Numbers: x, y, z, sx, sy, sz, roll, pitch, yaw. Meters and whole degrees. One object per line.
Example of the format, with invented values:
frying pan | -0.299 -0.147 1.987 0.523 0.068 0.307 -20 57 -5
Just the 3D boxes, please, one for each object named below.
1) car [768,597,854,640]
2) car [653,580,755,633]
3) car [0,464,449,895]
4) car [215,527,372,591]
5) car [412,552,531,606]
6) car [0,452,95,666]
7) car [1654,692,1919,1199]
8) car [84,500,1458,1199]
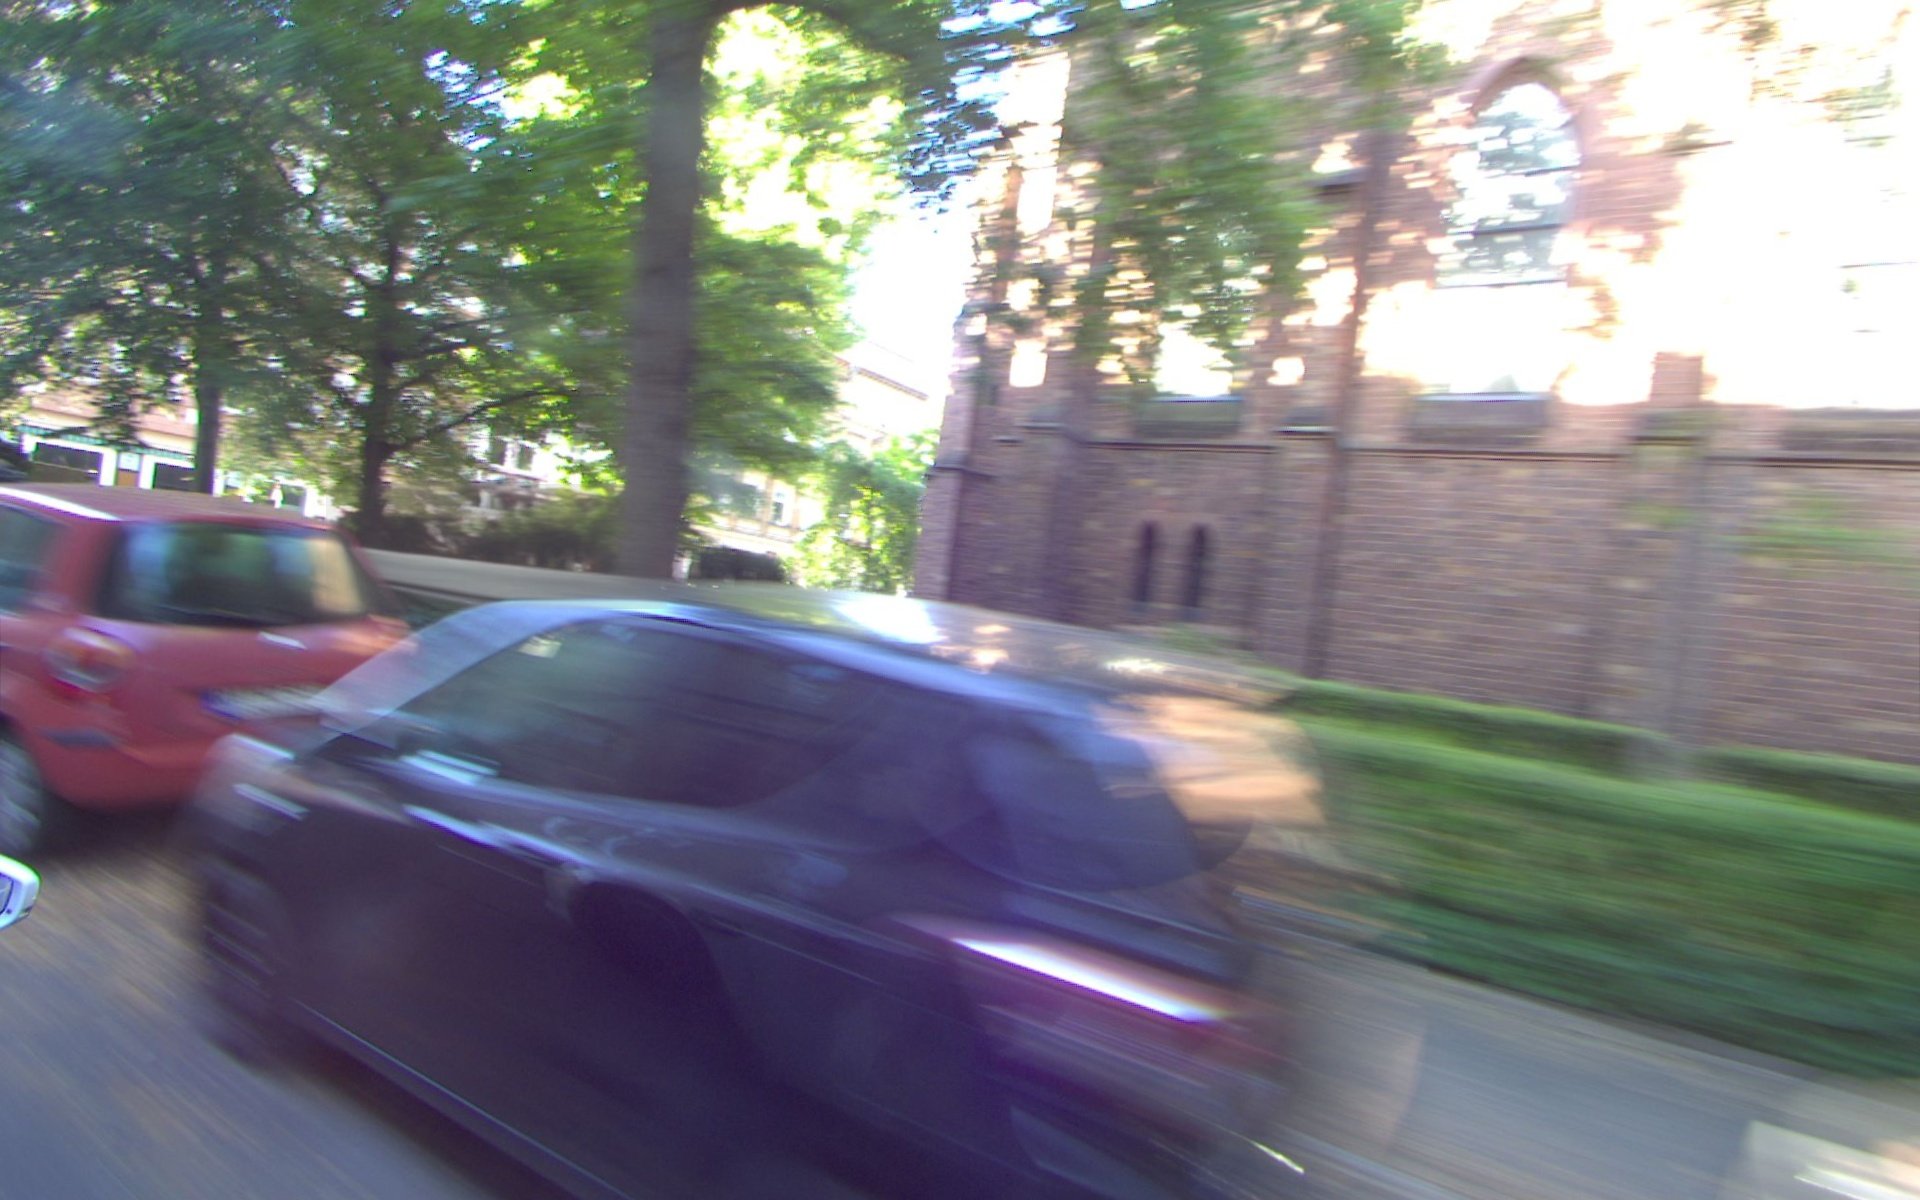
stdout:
car | -6.584 0.831 44.633 1.610 1.489 3.531 4 -3 38
car | -10.075 0.275 39.754 1.610 1.667 3.531 4 -3 38
car | -4.749 0.147 5.443 3.797 1.647 1.619 6 4 28
car | -21.558 -1.300 32.649 1.610 1.489 3.855 4 -3 38
car | -18.095 -0.762 37.391 1.610 1.489 3.531 4 -3 38
car | -9.234 -0.493 8.335 4.190 1.625 1.740 6 3 28
car | 3.206 1.136 0.376 4.614 1.461 1.676 6 3 28
car | -0.741 0.613 2.927 3.712 1.507 1.618 6 4 30
